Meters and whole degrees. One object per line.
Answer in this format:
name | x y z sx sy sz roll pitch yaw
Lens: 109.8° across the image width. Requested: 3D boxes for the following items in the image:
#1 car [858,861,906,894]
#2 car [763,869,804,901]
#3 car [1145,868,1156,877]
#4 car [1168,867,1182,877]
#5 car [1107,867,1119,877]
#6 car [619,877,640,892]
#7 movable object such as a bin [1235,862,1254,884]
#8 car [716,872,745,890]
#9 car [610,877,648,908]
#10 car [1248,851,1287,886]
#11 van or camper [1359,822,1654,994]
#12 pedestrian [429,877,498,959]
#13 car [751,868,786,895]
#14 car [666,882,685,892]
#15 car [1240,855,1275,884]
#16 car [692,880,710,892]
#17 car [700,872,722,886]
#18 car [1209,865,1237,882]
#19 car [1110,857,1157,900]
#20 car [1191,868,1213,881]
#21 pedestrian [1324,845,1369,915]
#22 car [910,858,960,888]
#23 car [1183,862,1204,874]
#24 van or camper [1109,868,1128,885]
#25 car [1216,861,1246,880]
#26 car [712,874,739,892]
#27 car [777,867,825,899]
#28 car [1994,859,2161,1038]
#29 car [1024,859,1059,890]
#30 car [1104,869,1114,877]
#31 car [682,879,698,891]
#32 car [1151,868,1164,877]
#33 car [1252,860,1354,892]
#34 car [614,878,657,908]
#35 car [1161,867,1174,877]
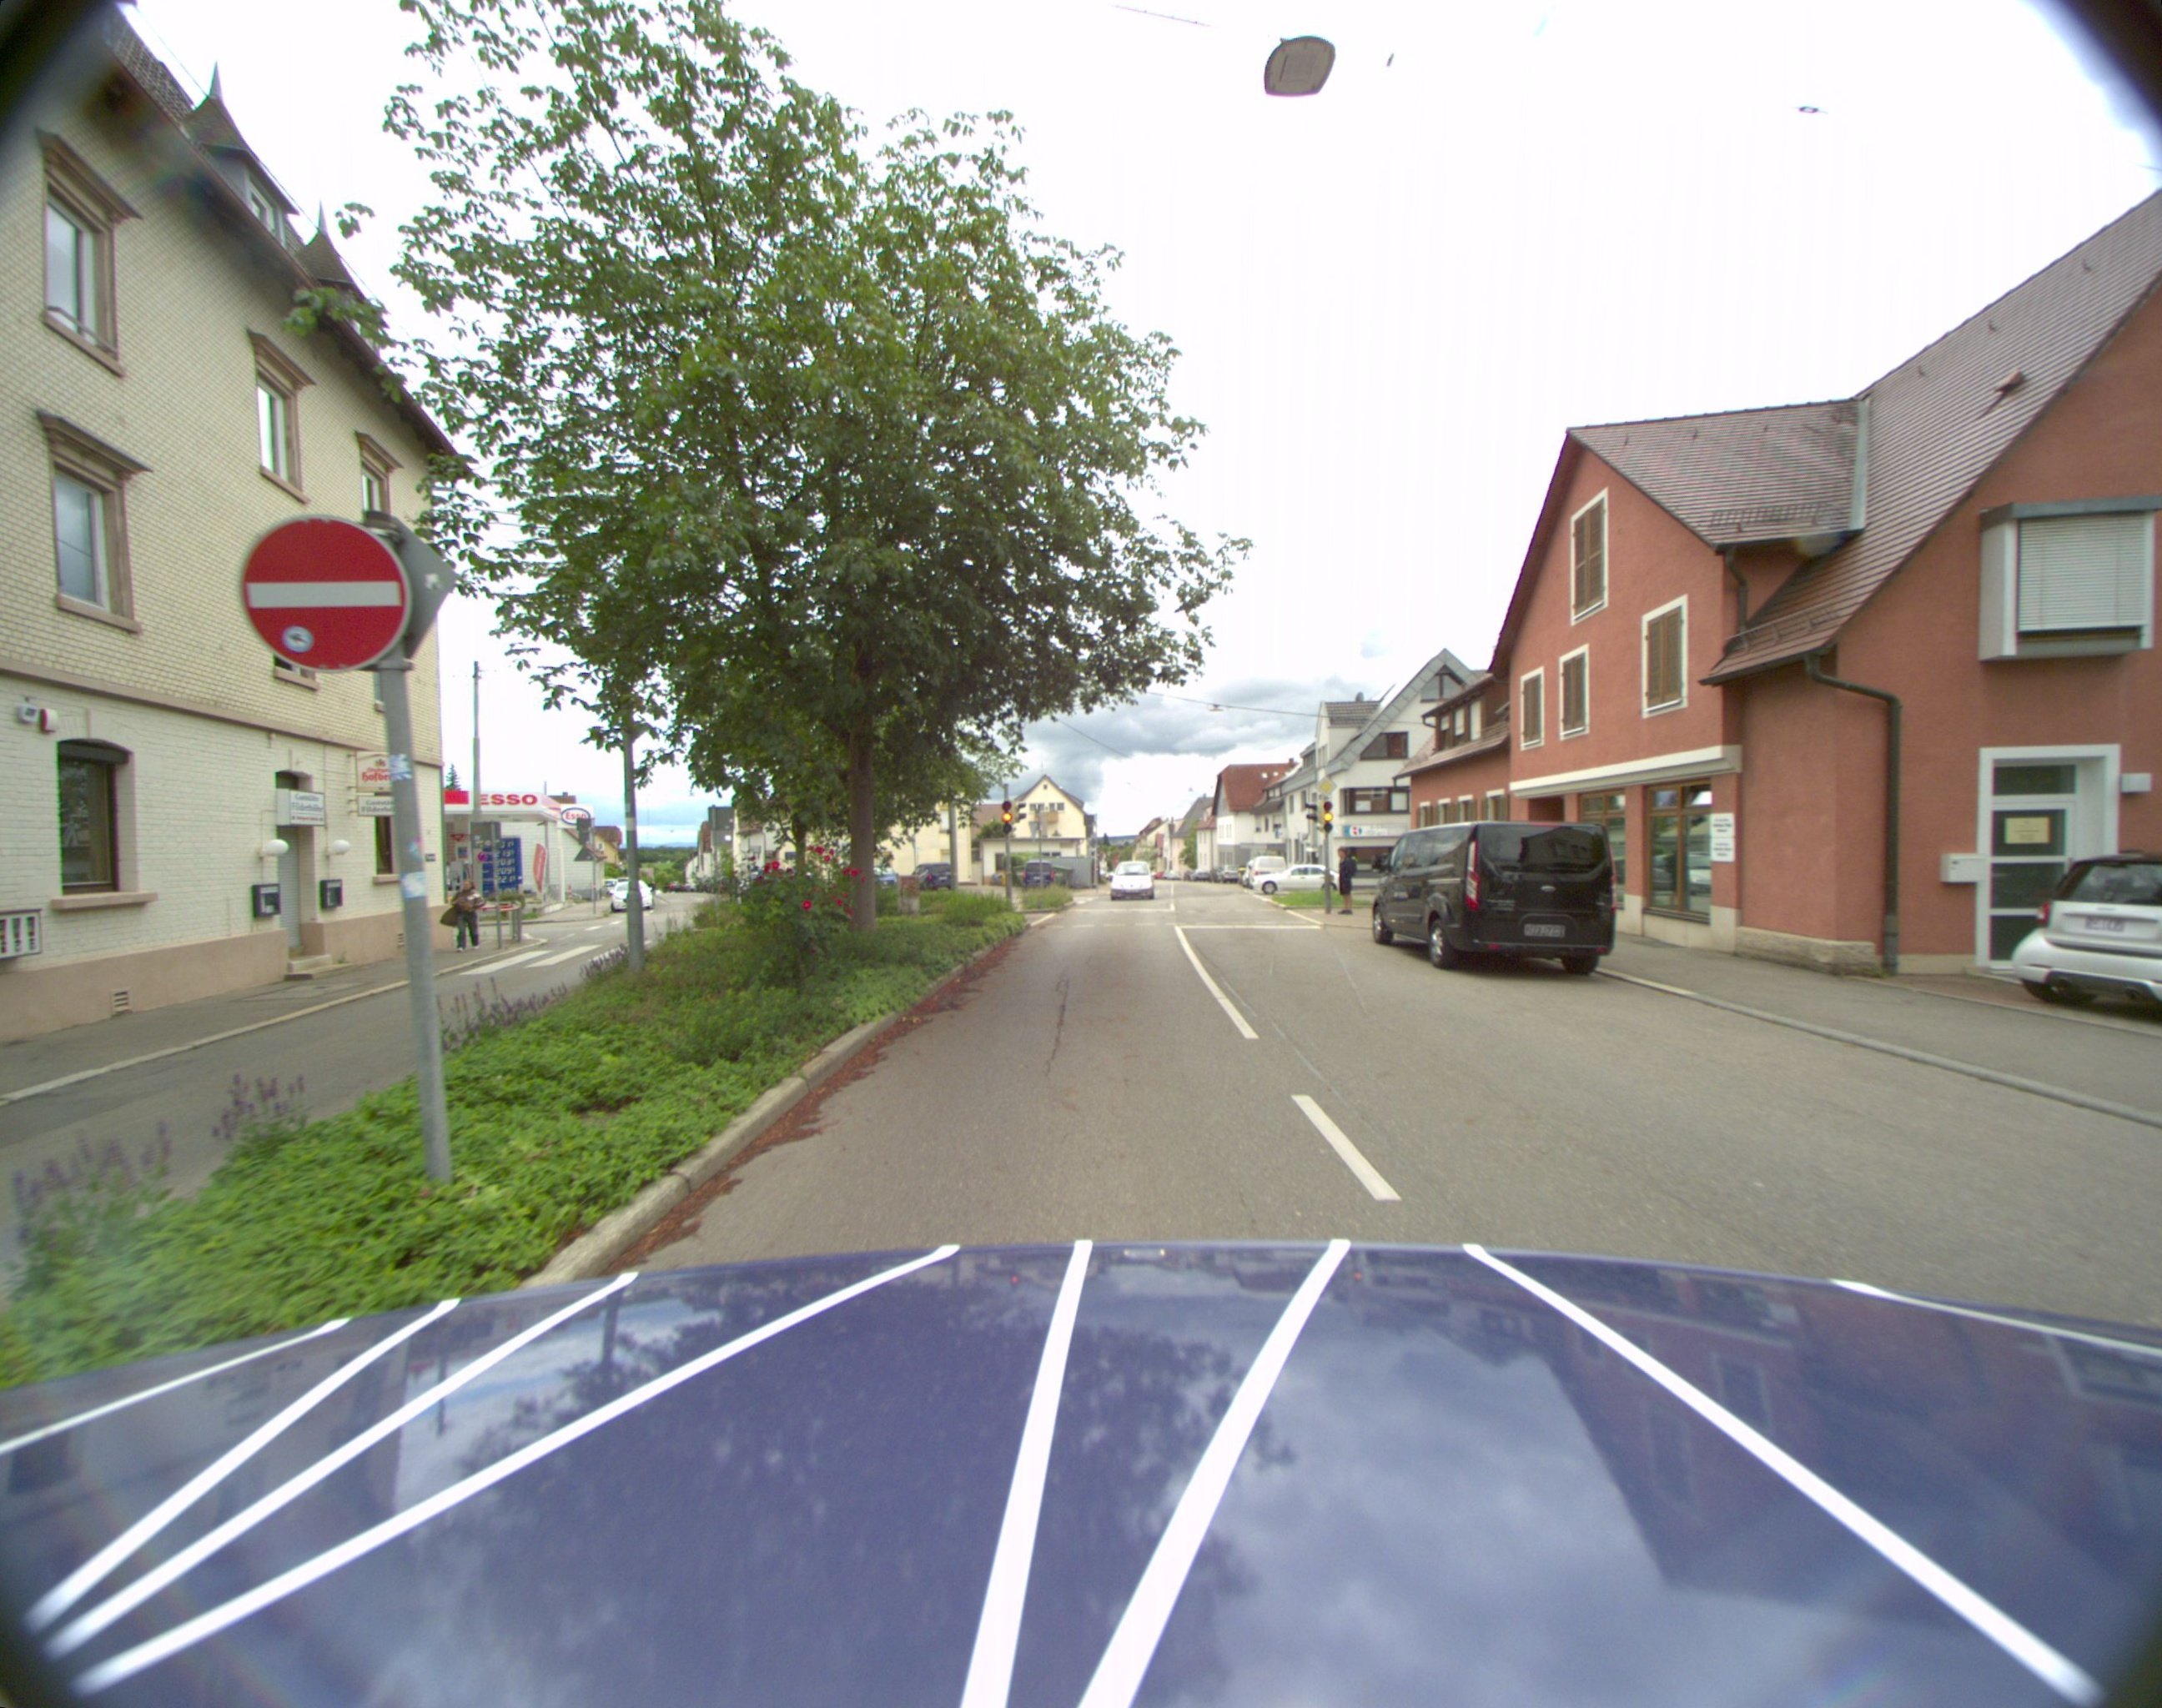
car | -12.161 1.452 46.166 1.905 1.791 4.885 -3 -1 -25
car | -18.736 1.955 47.752 1.778 1.931 4.315 1 -3 -30
car | 13.096 3.465 143.235 1.706 1.523 3.736 1 -1 -1
car | 13.711 2.690 111.131 1.653 1.438 3.812 0 -1 0
car | 4.845 2.714 114.902 1.613 1.446 3.860 -3 -1 -1
car | -53.153 3.567 89.510 1.879 1.586 3.893 -3 -1 -29
movable object such as a bin | 12.322 1.416 57.257 1.143 1.623 1.563 0 -1 0
car | -35.272 2.732 76.490 2.285 1.720 3.992 -3 -1 -29
car | -25.378 2.125 42.729 1.629 1.466 3.760 -2 1 -28
car | 11.130 0.855 45.529 1.815 1.993 4.767 1 -1 9
van or camper | 5.875 0.605 11.376 2.078 1.994 4.859 1 1 6
pedestrian | -13.887 1.409 17.125 0.861 1.722 1.020 -3 -1 -21
car | -22.362 1.992 54.289 1.725 1.720 3.992 -3 -1 -29
car | -94.924 7.690 177.948 1.998 2.001 4.001 -3 -1 2
car | 11.820 1.041 51.151 1.737 1.821 4.300 1 -1 6
car | -59.757 5.055 119.311 2.285 1.720 3.992 -3 -1 -29
car | -48.058 3.270 98.575 2.285 1.720 3.992 -3 -1 -29
car | 13.885 1.870 74.517 1.842 1.623 4.409 0 -1 0
car | 2.217 0.975 31.655 1.720 1.586 4.002 -3 -1 5
car | 13.980 2.394 87.949 1.842 1.436 4.468 1 -1 0
pedestrian | 6.872 0.669 19.703 0.891 1.774 0.803 -2 0 8
car | -9.355 1.246 48.577 1.872 1.717 3.992 -3 -1 -29
car | 13.862 1.720 94.075 1.842 1.436 4.000 1 -1 -3
van or camper | 4.787 2.896 98.263 1.999 2.001 5.064 -4 -1 -1
car | 13.509 1.496 68.625 1.842 1.623 4.409 0 -1 0
car | -38.305 3.138 81.887 2.285 1.720 3.992 -3 -1 -29
car | -15.606 1.609 42.209 1.778 1.608 3.992 -3 -1 -30
car | 10.607 0.789 6.694 2.835 1.466 1.744 -1 1 9
car | -2.235 1.170 44.021 1.750 1.729 4.572 0 -1 0
car | 5.261 3.612 144.109 1.613 1.446 3.860 -3 -1 -1
car | -68.826 5.472 133.729 2.003 2.001 3.992 -3 -1 -31
car | 13.263 3.228 131.729 1.706 1.401 3.736 1 -1 -1
car | 10.501 1.016 36.257 4.560 1.436 2.002 0 -1 12
car | -22.634 1.974 38.655 1.778 1.470 3.822 1 -3 -30
car | 13.222 2.780 116.492 1.653 1.438 3.775 0 -1 2
